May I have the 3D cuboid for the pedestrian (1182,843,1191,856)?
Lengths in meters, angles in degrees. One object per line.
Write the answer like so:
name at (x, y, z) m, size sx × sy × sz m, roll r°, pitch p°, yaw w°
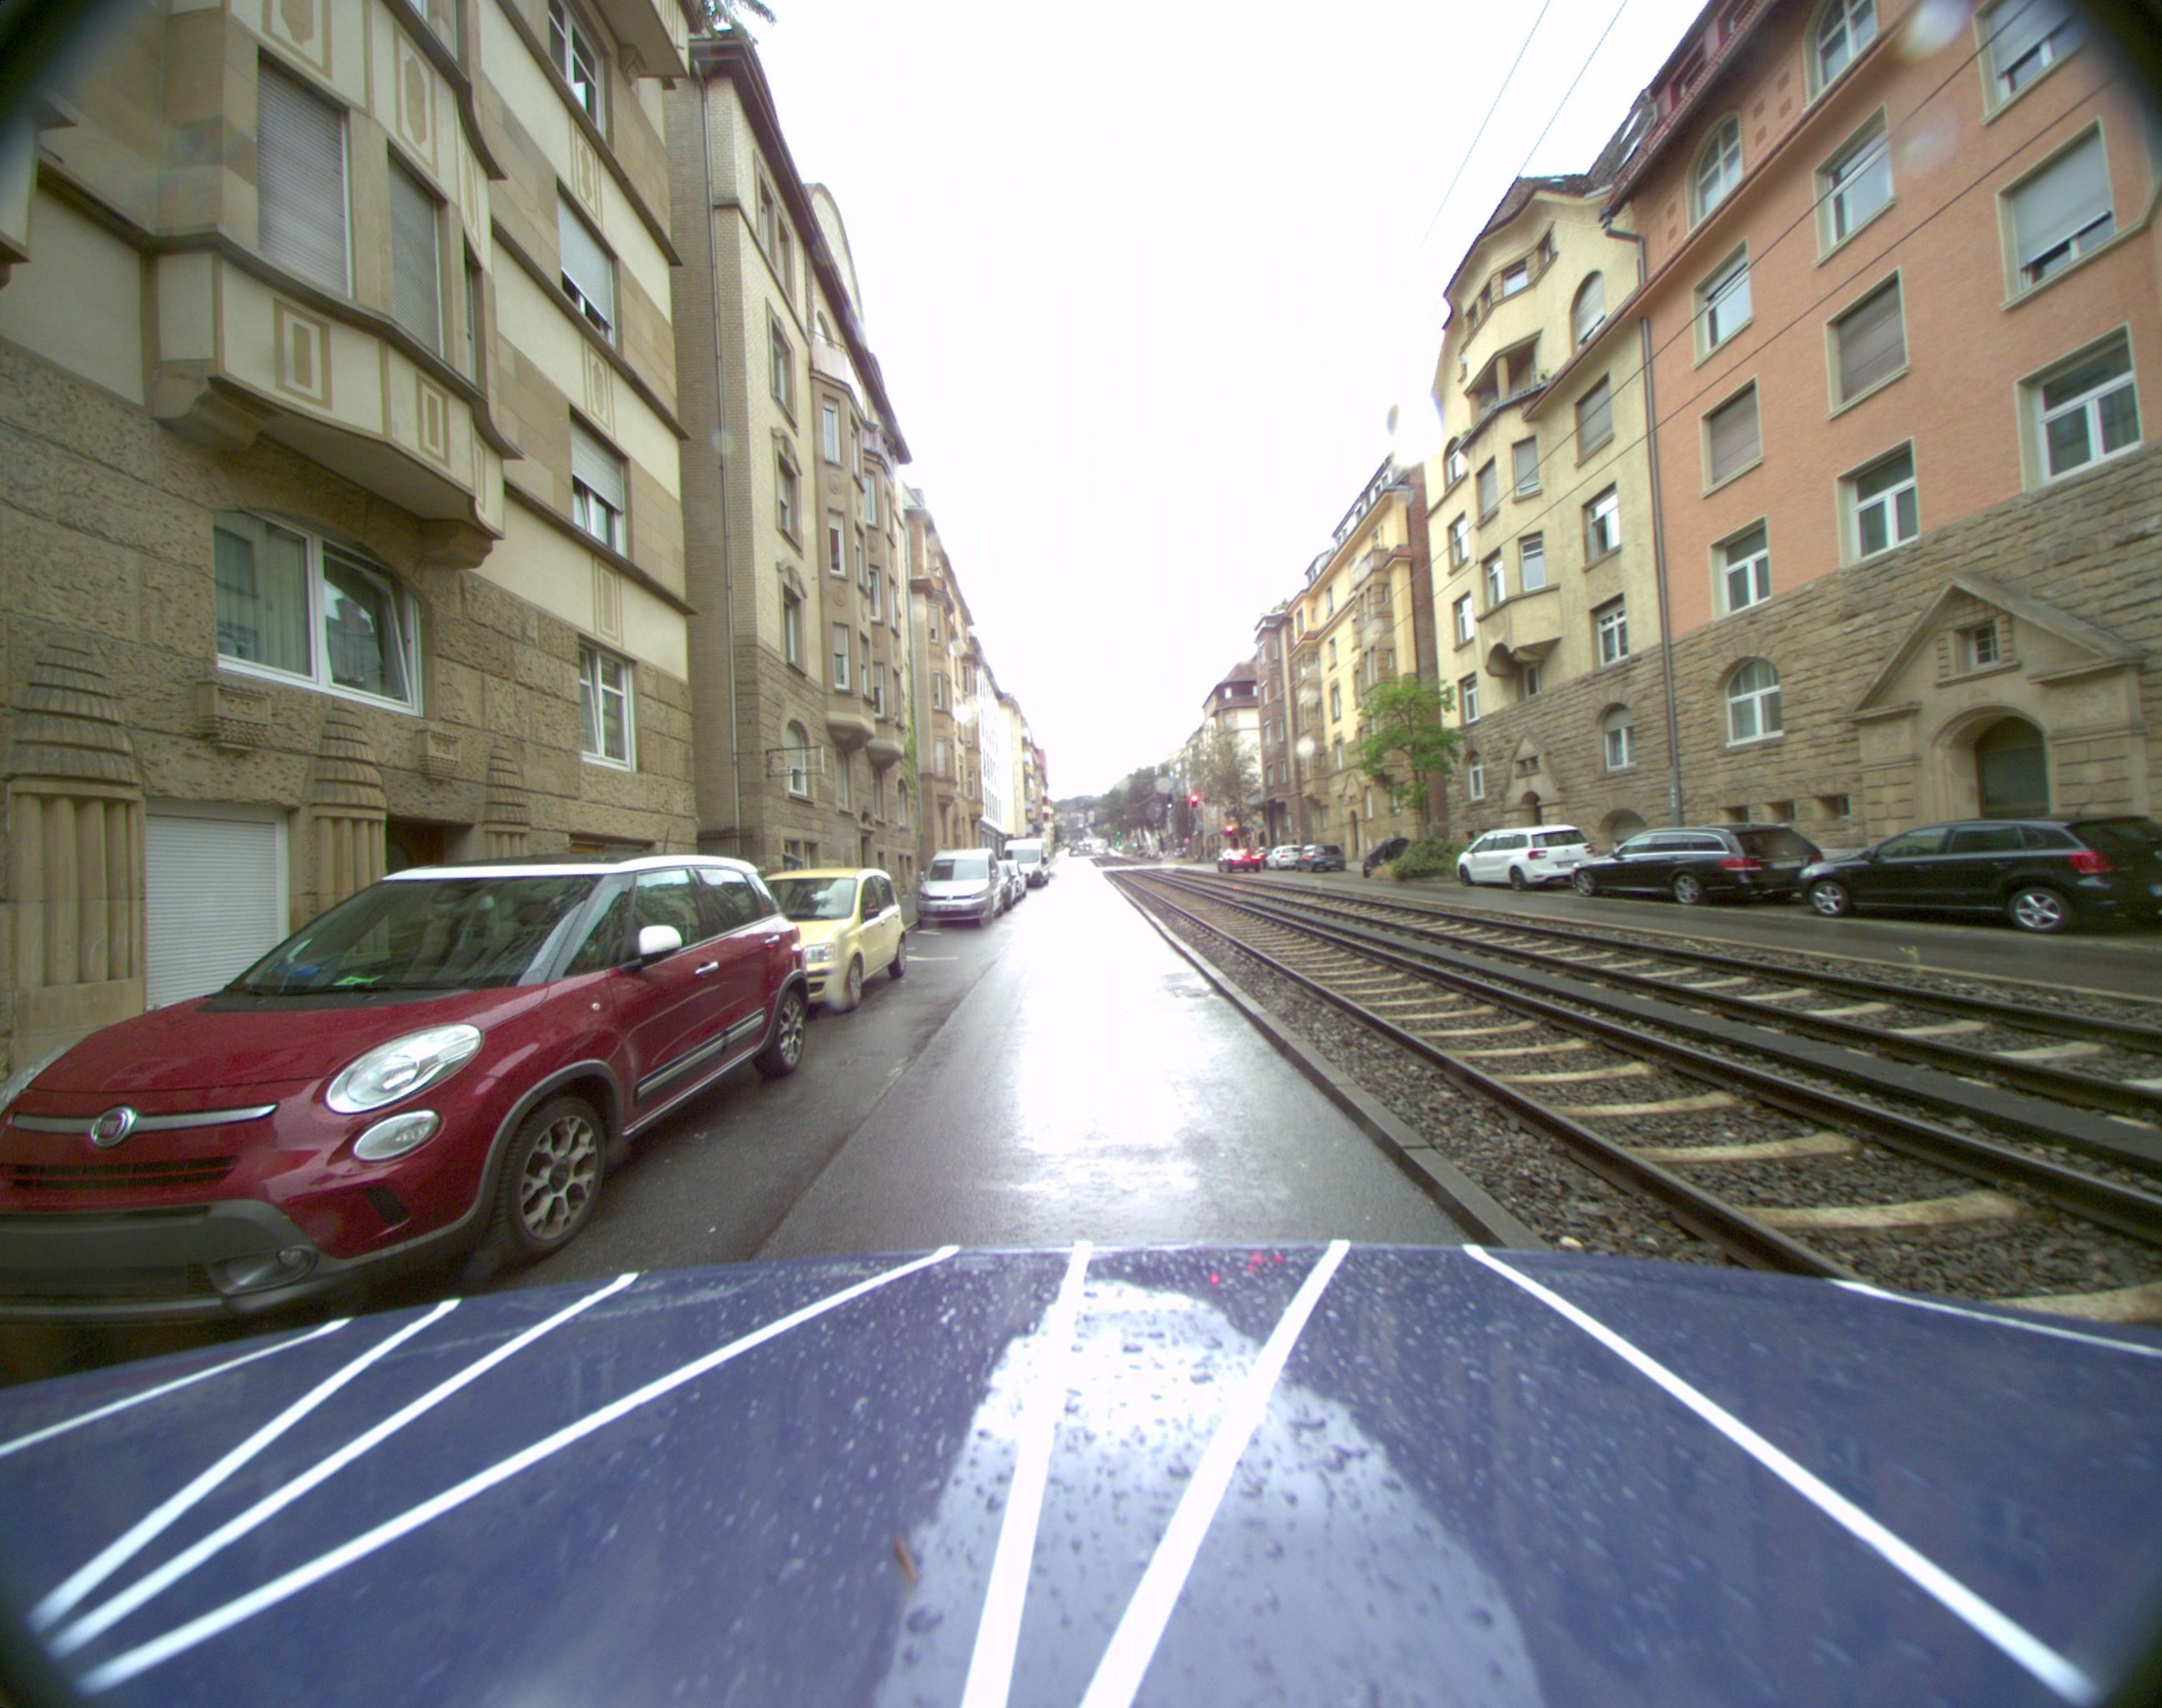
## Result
pedestrian at (16.042, -0.638, 115.529) m, size 1.056 × 1.946 × 1.163 m, roll -3°, pitch 1°, yaw 2°

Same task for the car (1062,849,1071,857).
car at (-3.742, -0.252, 194.886) m, size 1.998 × 1.838 × 4.000 m, roll -3°, pitch 0°, yaw 1°

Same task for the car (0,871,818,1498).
car at (-3.032, 0.982, 4.091) m, size 1.807 × 1.590 × 3.999 m, roll -3°, pitch 0°, yaw -1°

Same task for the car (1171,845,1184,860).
car at (12.676, -0.230, 99.544) m, size 1.583 × 1.669 × 3.790 m, roll -3°, pitch 2°, yaw 7°

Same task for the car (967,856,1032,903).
car at (-2.951, 0.887, 28.315) m, size 1.891 × 1.521 × 3.929 m, roll -3°, pitch 0°, yaw 1°

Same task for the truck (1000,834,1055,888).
truck at (-2.721, 0.348, 39.944) m, size 2.235 × 2.521 × 6.143 m, roll -3°, pitch 0°, yaw 1°

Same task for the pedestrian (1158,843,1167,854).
pedestrian at (15.445, -1.019, 143.776) m, size 1.380 × 1.946 × 1.379 m, roll -3°, pitch 1°, yaw 2°

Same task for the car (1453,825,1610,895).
car at (12.274, 0.140, 21.045) m, size 1.867 × 1.646 × 4.146 m, roll -3°, pitch 0°, yaw 1°

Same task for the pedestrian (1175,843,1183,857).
pedestrian at (14.872, -0.596, 115.536) m, size 1.056 × 1.946 × 1.163 m, roll -3°, pitch 1°, yaw 2°

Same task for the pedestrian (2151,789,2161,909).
pedestrian at (15.026, -0.098, 9.991) m, size 0.701 × 1.633 × 0.765 m, roll -7°, pitch 1°, yaw 1°

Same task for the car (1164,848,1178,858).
car at (12.577, -0.084, 106.382) m, size 1.583 × 1.303 × 3.845 m, roll -3°, pitch 0°, yaw 1°

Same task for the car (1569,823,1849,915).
car at (12.293, 0.253, 15.383) m, size 1.847 × 1.486 × 4.601 m, roll -3°, pitch 0°, yaw 1°

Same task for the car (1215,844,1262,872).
car at (9.582, 0.236, 46.584) m, size 1.807 × 1.514 × 4.964 m, roll -3°, pitch 0°, yaw 1°

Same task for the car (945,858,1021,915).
car at (-2.962, 0.944, 23.815) m, size 1.999 × 1.521 × 3.999 m, roll -3°, pitch 0°, yaw -3°

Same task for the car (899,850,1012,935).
car at (-3.008, 0.853, 19.198) m, size 1.968 × 1.792 × 4.459 m, roll -3°, pitch 0°, yaw 1°

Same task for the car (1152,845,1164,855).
car at (12.843, -0.629, 126.834) m, size 1.657 × 1.589 × 3.775 m, roll -3°, pitch 0°, yaw 1°

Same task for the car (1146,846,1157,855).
car at (12.439, -0.628, 133.703) m, size 1.632 × 1.537 × 3.801 m, roll -3°, pitch 0°, yaw 1°

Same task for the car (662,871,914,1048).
car at (-3.188, 1.045, 9.040) m, size 1.580 × 1.520 × 3.578 m, roll -3°, pitch 0°, yaw -1°

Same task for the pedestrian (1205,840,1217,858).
pedestrian at (15.108, -0.572, 88.381) m, size 1.056 × 1.946 × 1.163 m, roll -3°, pitch 1°, yaw 2°

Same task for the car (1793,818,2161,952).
car at (12.530, 0.320, 10.465) m, size 1.935 × 1.488 × 3.642 m, roll -2°, pitch 1°, yaw -2°

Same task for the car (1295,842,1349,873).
car at (12.506, 0.136, 39.613) m, size 1.678 × 1.433 × 3.845 m, roll -4°, pitch 1°, yaw 3°

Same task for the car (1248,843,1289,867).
car at (12.484, 0.073, 50.746) m, size 1.771 × 1.433 × 3.845 m, roll -3°, pitch 0°, yaw 1°

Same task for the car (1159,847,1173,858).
car at (12.873, -0.272, 115.364) m, size 1.771 × 1.507 × 3.845 m, roll -3°, pitch 0°, yaw 1°

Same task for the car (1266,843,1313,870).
car at (12.474, 0.126, 45.652) m, size 1.771 × 1.433 × 4.031 m, roll -3°, pitch 0°, yaw 2°
